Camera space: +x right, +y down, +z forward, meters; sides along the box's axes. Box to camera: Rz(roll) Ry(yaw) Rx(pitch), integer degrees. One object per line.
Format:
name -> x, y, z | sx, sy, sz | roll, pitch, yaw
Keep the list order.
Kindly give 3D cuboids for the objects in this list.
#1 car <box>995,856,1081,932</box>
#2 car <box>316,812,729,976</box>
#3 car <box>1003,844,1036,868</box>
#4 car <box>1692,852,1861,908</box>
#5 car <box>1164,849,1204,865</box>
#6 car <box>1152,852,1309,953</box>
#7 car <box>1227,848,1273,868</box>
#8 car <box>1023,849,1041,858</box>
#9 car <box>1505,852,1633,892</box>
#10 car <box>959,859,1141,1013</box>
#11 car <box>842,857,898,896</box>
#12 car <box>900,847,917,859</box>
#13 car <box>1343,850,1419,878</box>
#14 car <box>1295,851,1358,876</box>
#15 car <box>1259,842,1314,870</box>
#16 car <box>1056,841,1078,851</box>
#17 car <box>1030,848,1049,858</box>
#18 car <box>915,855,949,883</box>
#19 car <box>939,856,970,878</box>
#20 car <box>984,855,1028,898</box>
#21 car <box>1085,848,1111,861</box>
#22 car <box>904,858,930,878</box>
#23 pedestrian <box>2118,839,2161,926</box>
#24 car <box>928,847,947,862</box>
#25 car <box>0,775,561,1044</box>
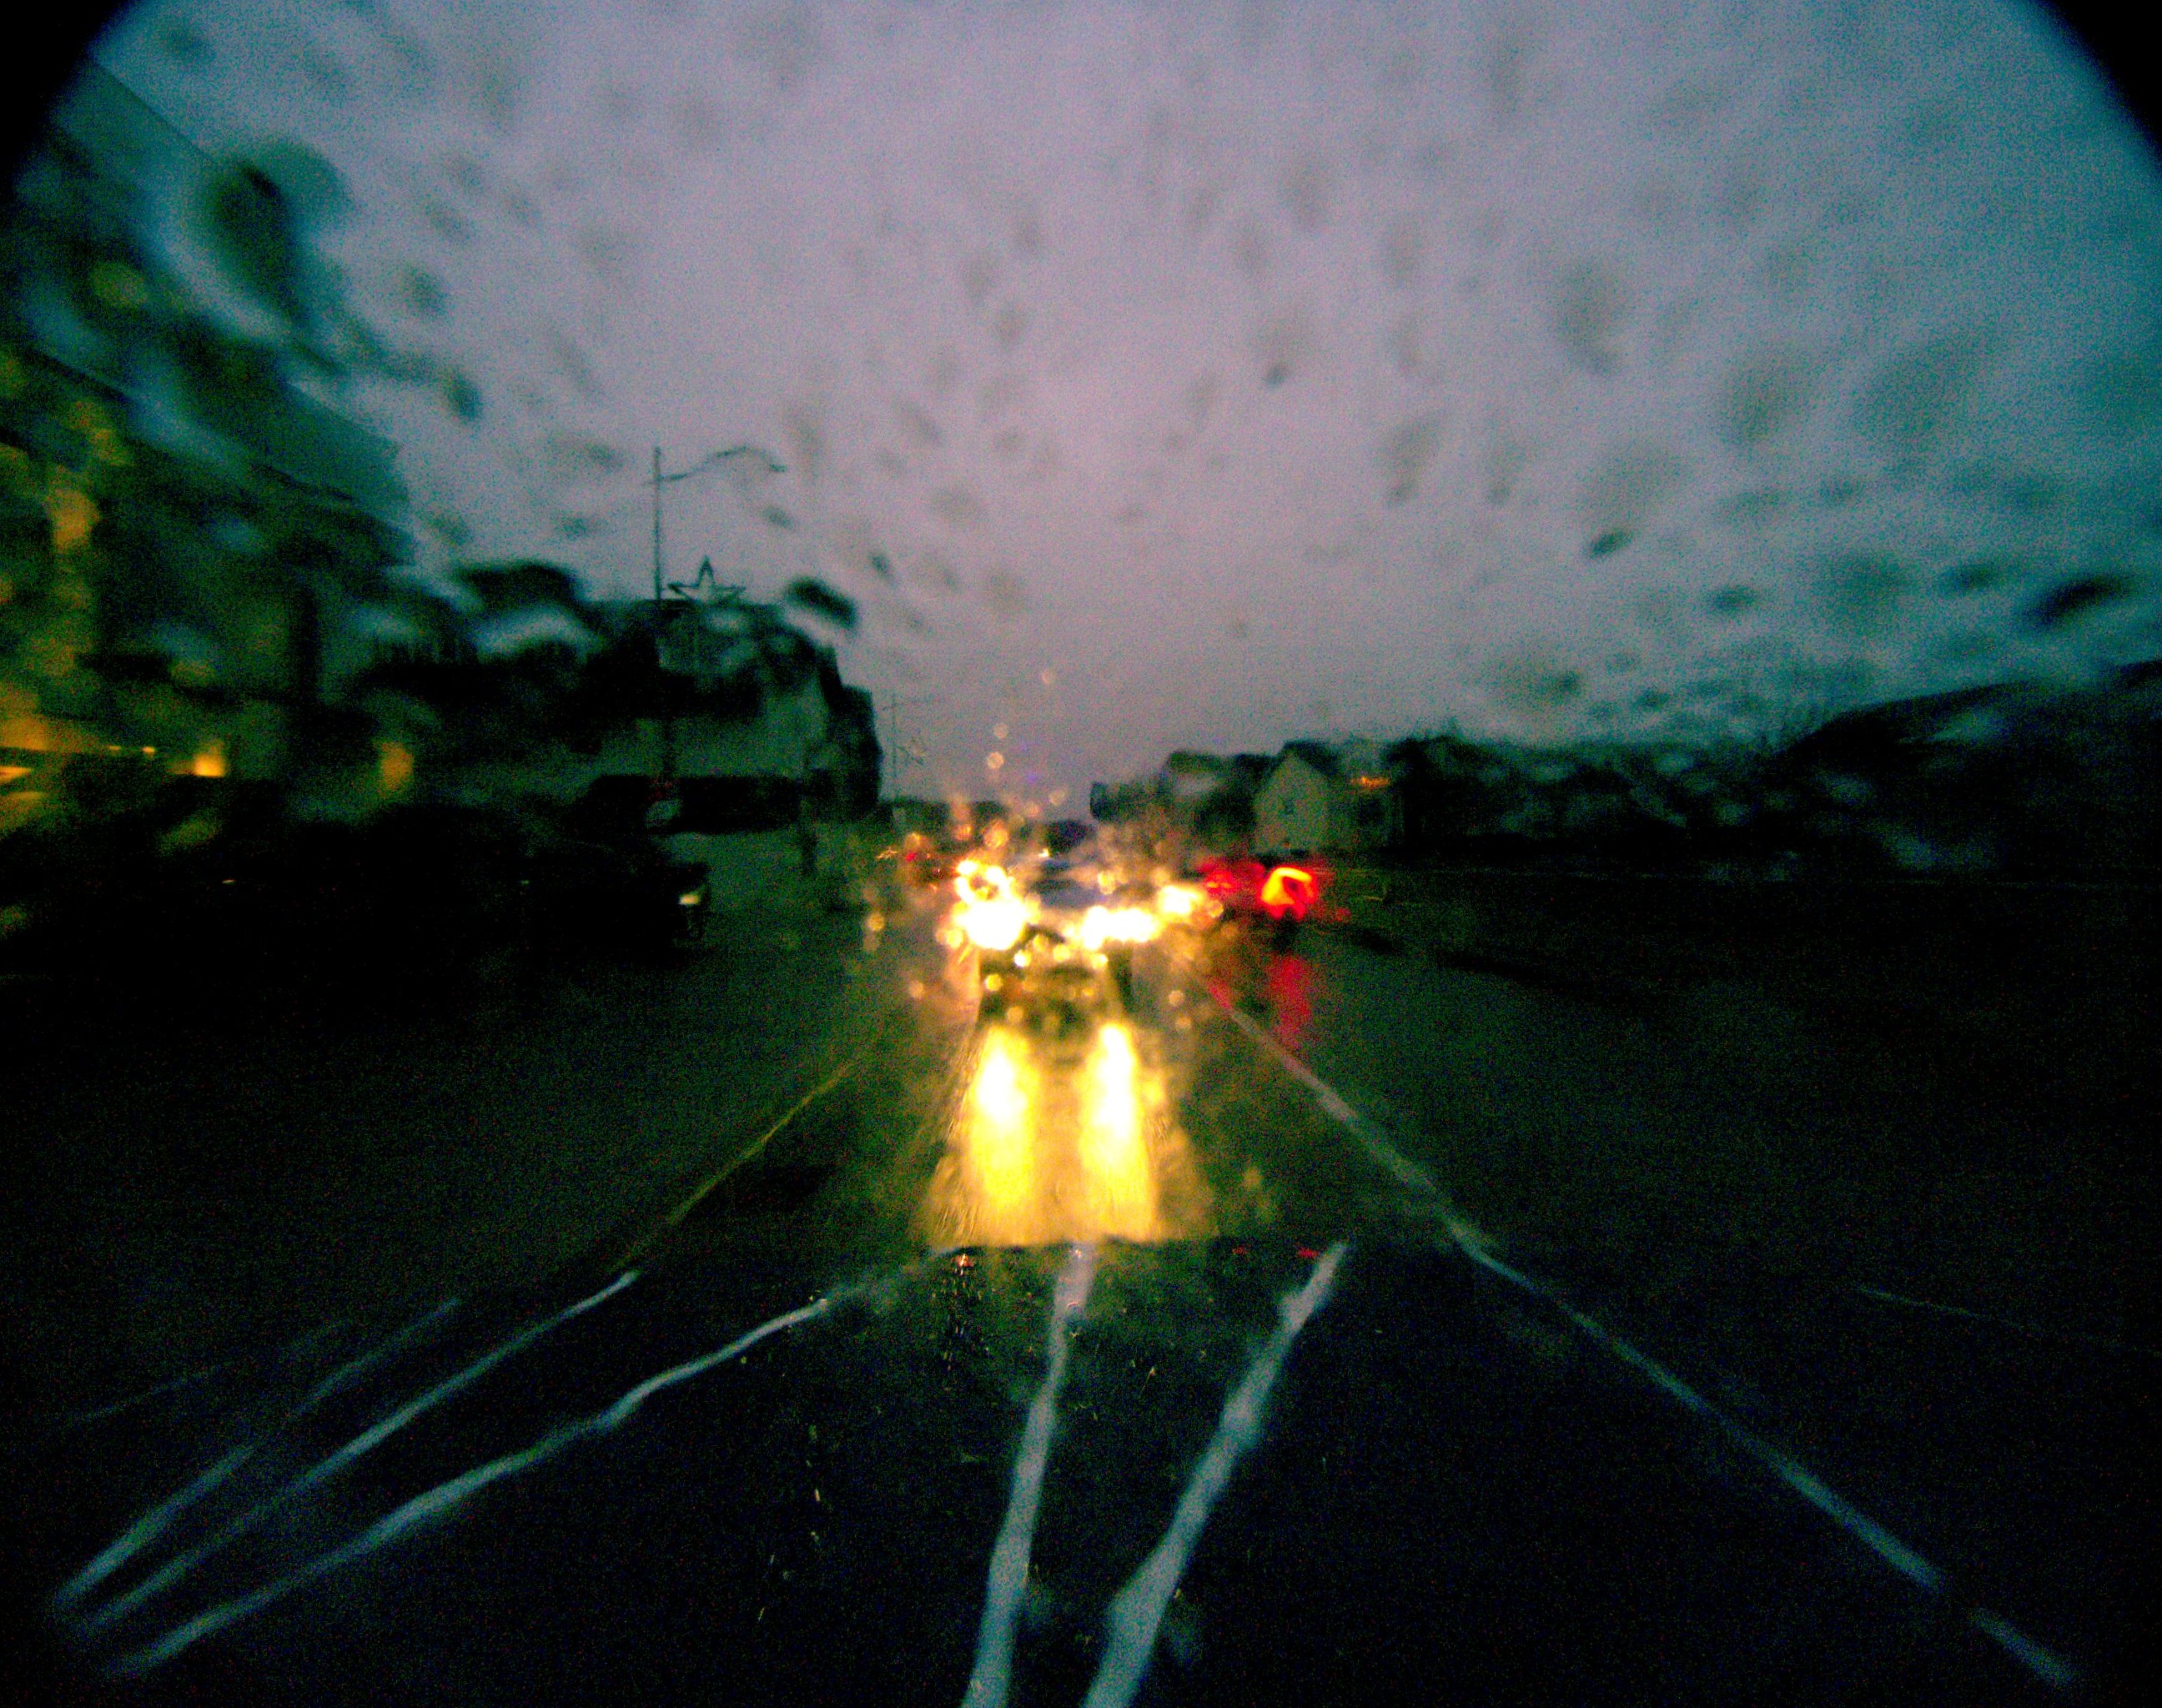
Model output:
car -> -1.151, 0.899, 18.506 | 1.682, 1.614, 3.997 | -1, -1, -9
car -> -7.488, 0.555, 10.659 | 4.153, 1.625, 1.753 | 8, -1, -11
car -> -5.510, 0.141, 67.690 | 2.002, 2.002, 3.993 | -2, 1, -19
car -> 20.424, 0.697, 22.500 | 1.479, 1.500, 3.500 | -1, 1, -10
car -> 9.441, 0.249, 69.771 | 1.801, 1.460, 4.609 | -1, 1, -18
car -> 2.653, 0.798, 14.428 | 1.784, 1.612, 3.955 | -1, 0, -6
car -> 12.879, 0.321, 58.152 | 1.677, 1.460, 4.011 | 1, -1, -18
car -> -7.818, -0.094, 121.108 | 1.801, 1.460, 4.250 | -1, 1, -18
car -> 19.329, 0.648, 30.349 | 1.801, 1.460, 4.252 | -1, 0, -13
car -> -0.408, 0.900, 10.143 | 1.888, 1.569, 3.999 | -2, 0, -2
car -> -8.629, 0.895, 31.307 | 1.778, 1.488, 3.775 | 1, -1, -9
car -> -22.524, -0.087, 99.068 | 1.673, 1.513, 3.993 | 1, -1, -20
car -> 16.691, 0.520, 42.495 | 1.801, 1.460, 4.252 | -1, 0, -13
car -> 15.390, 0.562, 47.858 | 1.801, 1.460, 4.252 | -1, 0, -13
car -> 14.192, 0.122, 52.726 | 1.801, 1.816, 4.252 | -1, 1, -14
car -> -1.931, -1.089, 104.412 | 1.801, 1.460, 4.250 | -1, 1, -18
car -> -6.360, -0.091, 115.779 | 1.801, 1.460, 4.250 | -1, 1, -19
car -> -8.846, 0.880, 45.038 | 1.849, 1.577, 3.765 | -1, 0, -12
car -> -9.301, 0.925, 55.638 | 1.743, 1.434, 3.994 | -2, 1, -15
car -> -3.026, 0.835, 30.190 | 1.572, 1.460, 3.613 | -3, 1, -7
car -> 1.985, 0.023, 91.068 | 1.801, 1.460, 4.250 | -1, 1, -18
car -> -11.020, 0.948, 51.061 | 1.499, 1.283, 3.287 | -1, 0, -15
pedestrian -> 16.404, 0.429, 11.637 | 0.512, 1.294, 0.601 | -2, 1, -38
car -> -20.059, 0.114, 106.364 | 2.002, 2.002, 3.993 | -2, 1, -19
car -> -7.796, 0.409, 6.925 | 4.552, 1.922, 1.974 | 4, -1, -4
